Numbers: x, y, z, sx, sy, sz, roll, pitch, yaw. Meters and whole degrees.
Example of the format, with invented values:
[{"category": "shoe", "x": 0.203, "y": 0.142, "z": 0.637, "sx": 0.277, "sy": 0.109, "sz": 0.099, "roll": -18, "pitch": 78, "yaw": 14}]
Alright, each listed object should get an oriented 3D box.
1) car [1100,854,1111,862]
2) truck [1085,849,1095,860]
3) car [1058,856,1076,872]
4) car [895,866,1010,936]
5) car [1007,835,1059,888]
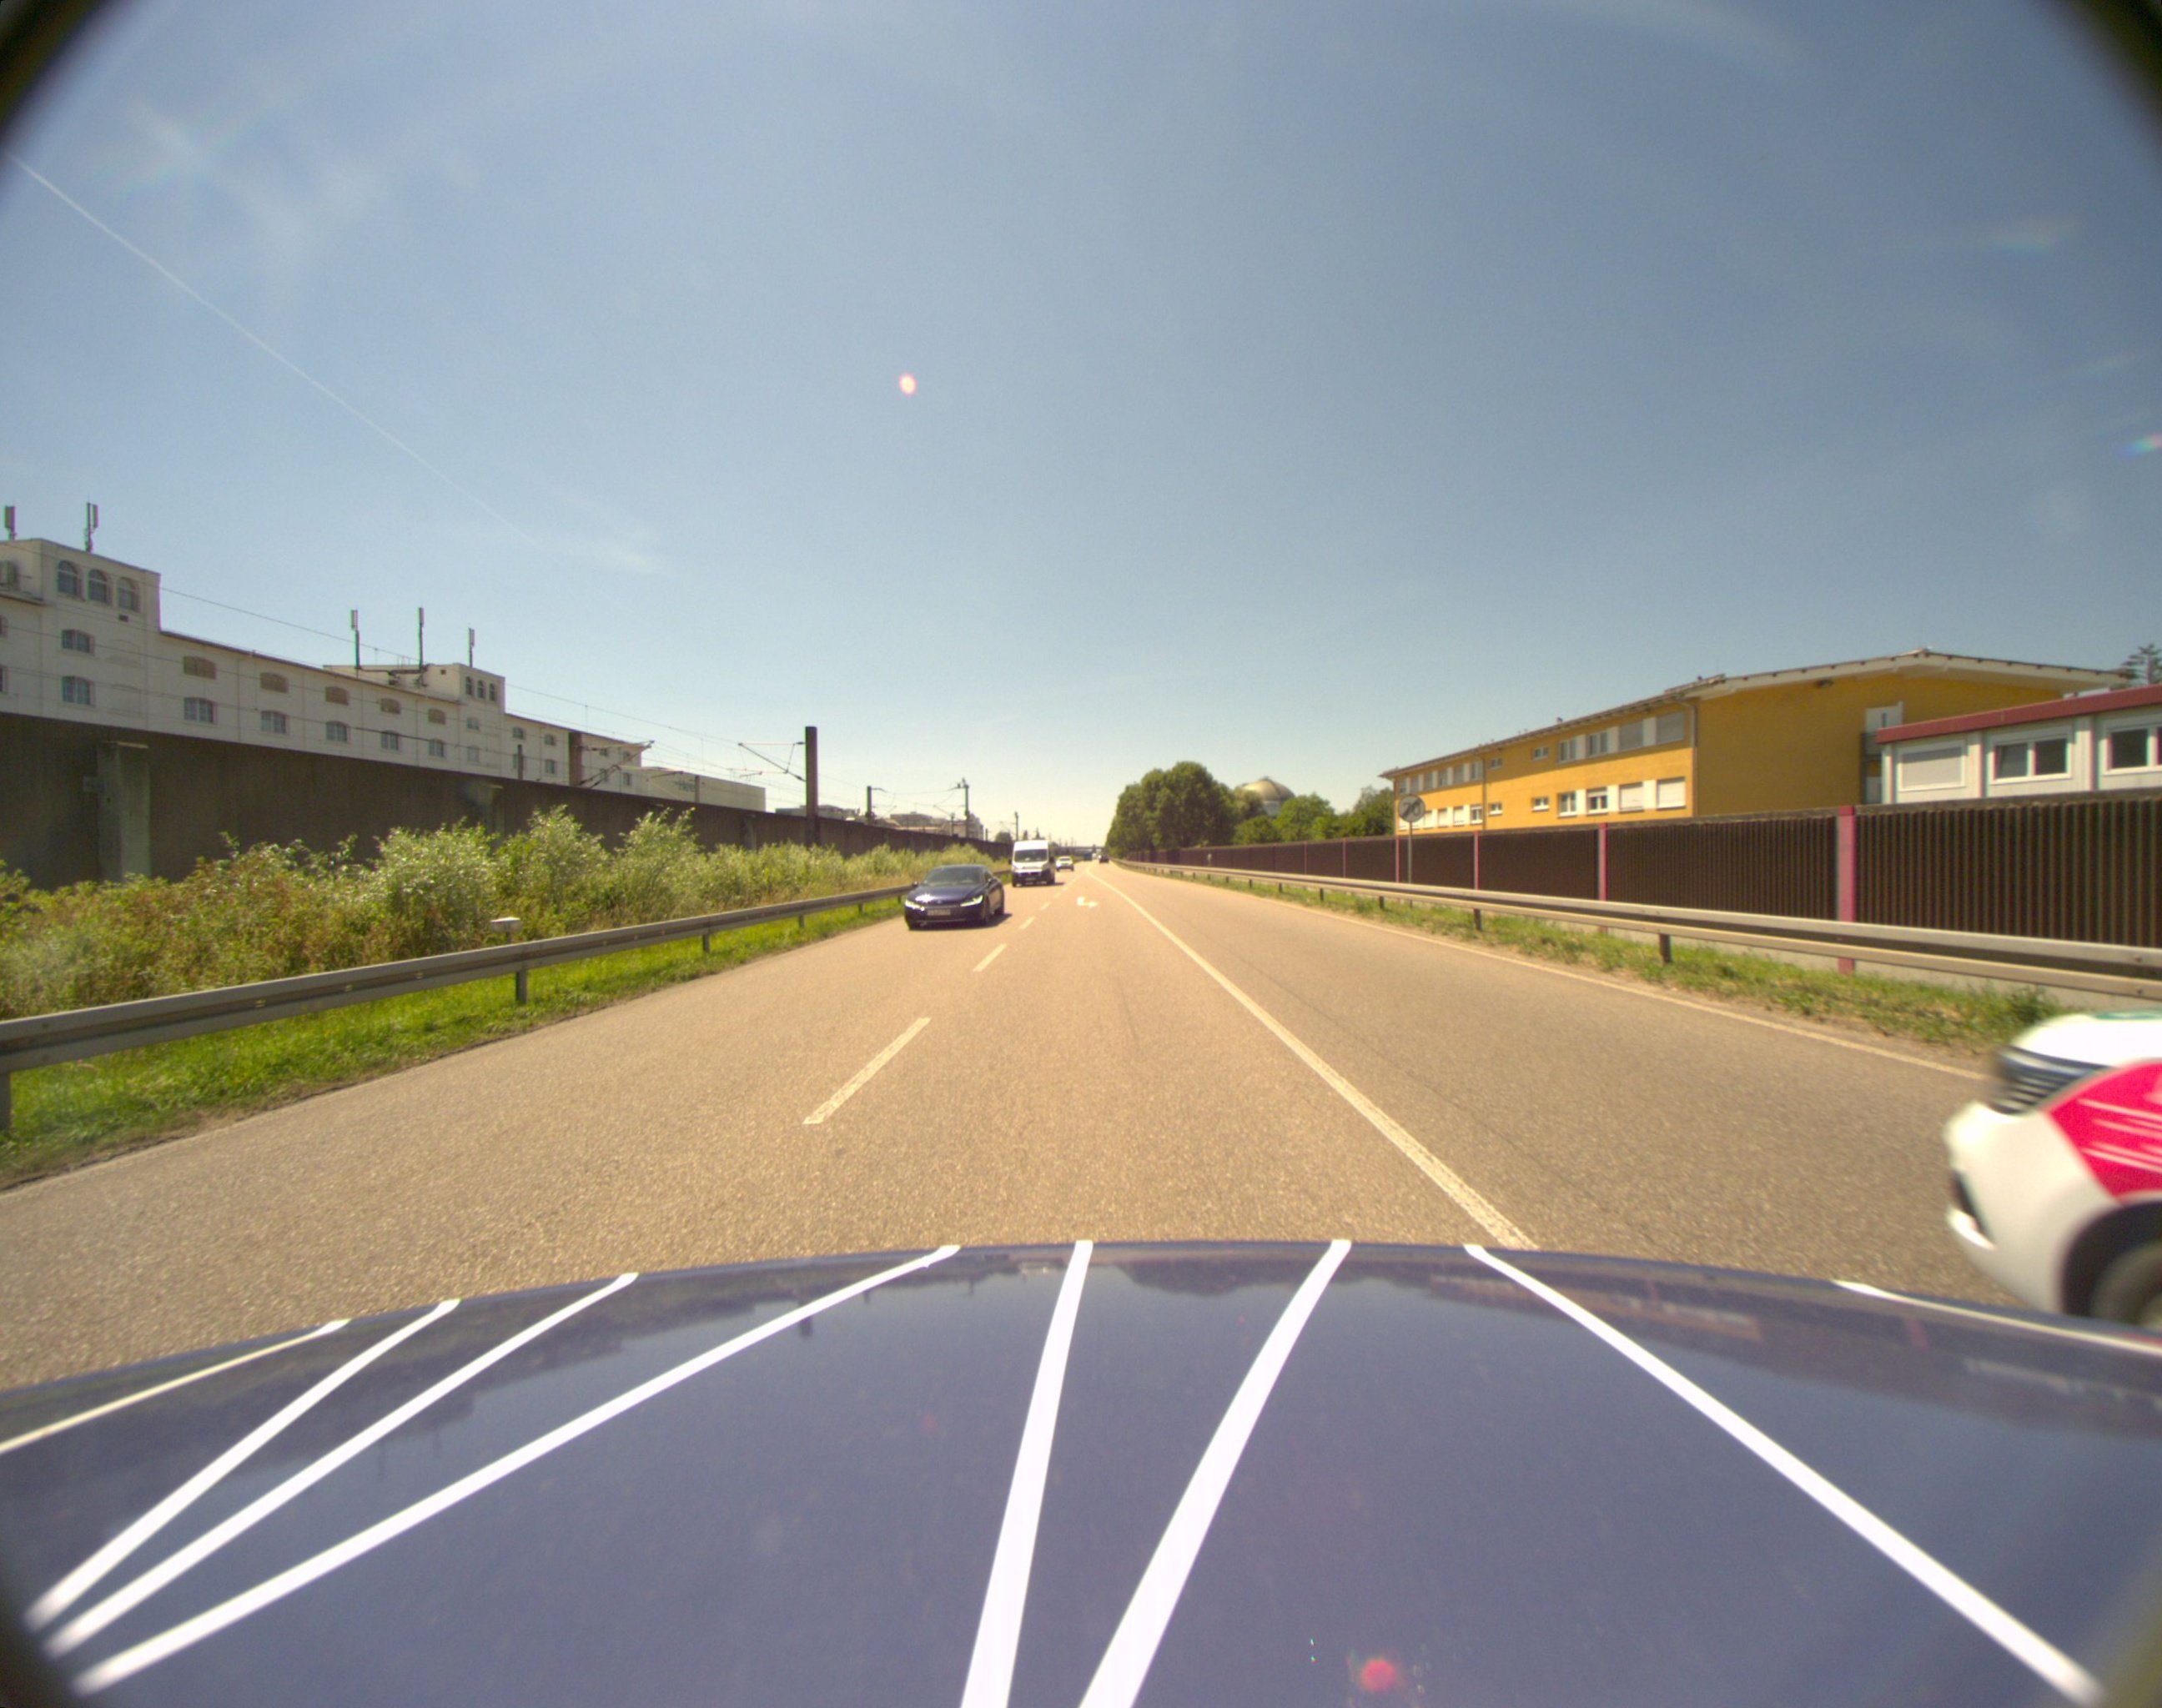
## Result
[{"category": "car", "x": 4.415, "y": 0.725, "z": 138.370, "sx": 1.849, "sy": 1.382, "sz": 4.190, "roll": -3, "pitch": 0, "yaw": 1}, {"category": "truck", "x": 2.613, "y": 0.164, "z": 212.691, "sx": 2.616, "sy": 3.024, "sz": 10.656, "roll": -1, "pitch": 0, "yaw": 2}, {"category": "car", "x": -1.477, "y": 1.007, "z": 80.765, "sx": 1.822, "sy": 1.554, "sz": 4.278, "roll": -2, "pitch": 0, "yaw": -1}, {"category": "car", "x": -2.999, "y": 1.052, "z": 18.701, "sx": 1.861, "sy": 1.371, "sz": 4.503, "roll": -3, "pitch": 0, "yaw": 2}, {"category": "car", "x": -2.550, "y": 0.380, "z": 42.401, "sx": 2.194, "sy": 2.589, "sz": 6.751, "roll": -3, "pitch": 0, "yaw": 1}]
